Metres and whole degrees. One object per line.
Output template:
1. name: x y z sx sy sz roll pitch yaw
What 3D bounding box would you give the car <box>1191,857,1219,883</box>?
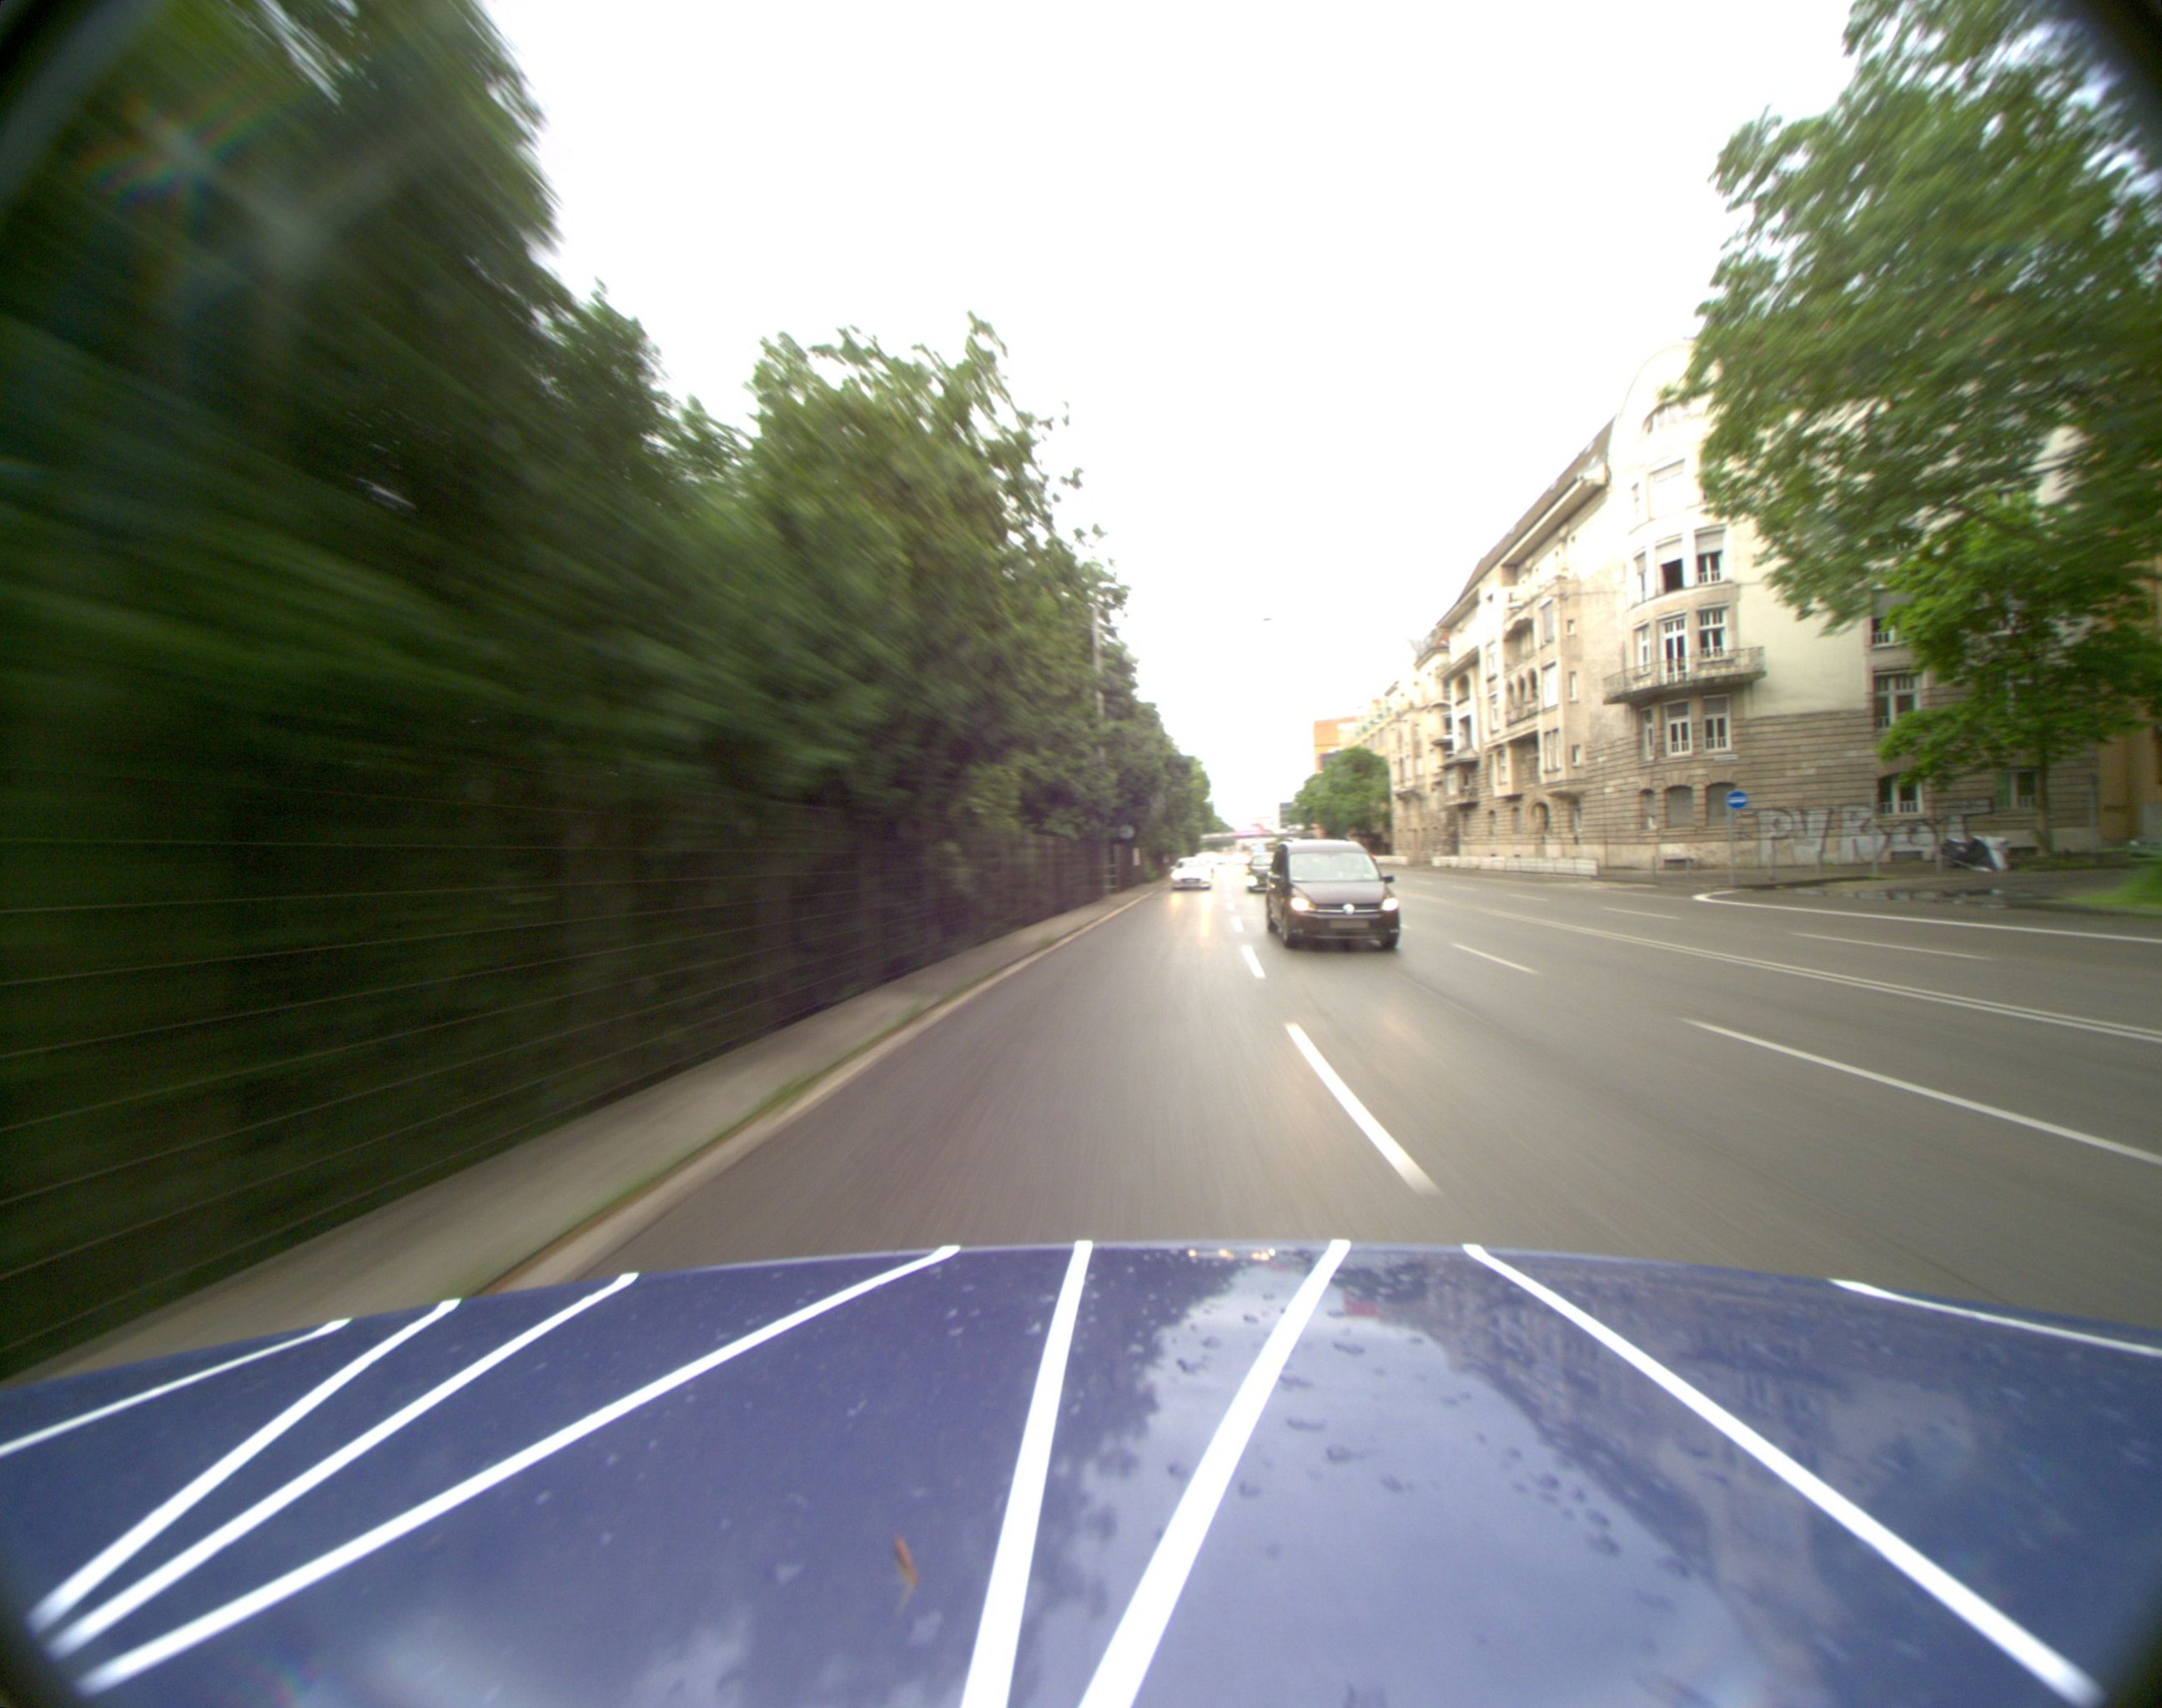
1. car: 9.174 1.138 55.997 1.800 1.586 4.003 -4 0 11

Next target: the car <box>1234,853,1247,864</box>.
1. car: 27.020 0.750 128.711 1.877 1.761 4.002 -4 0 10

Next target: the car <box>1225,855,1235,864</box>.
1. car: 34.123 1.256 174.125 1.877 1.761 4.002 -4 0 10

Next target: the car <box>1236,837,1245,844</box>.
1. car: 38.230 -3.194 181.987 1.823 1.602 4.003 -4 0 13

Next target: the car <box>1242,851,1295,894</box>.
1. car: 7.749 0.713 31.685 1.730 1.604 4.002 -4 0 9

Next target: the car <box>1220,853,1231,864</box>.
1. car: 26.879 0.871 141.314 1.877 1.761 4.002 -4 0 10

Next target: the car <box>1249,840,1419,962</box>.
1. car: 4.208 0.720 13.322 1.841 1.780 4.001 -1 0 4

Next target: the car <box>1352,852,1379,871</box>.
1. car: 21.952 0.534 58.739 1.703 1.331 3.920 -2 0 17

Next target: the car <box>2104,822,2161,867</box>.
1. car: 35.428 -0.396 23.686 3.992 1.353 1.696 -3 0 16

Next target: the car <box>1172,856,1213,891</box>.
1. car: 5.270 0.874 35.976 1.730 1.430 4.002 -4 0 9

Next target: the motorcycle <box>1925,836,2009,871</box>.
1. motorcycle: 29.908 -0.022 25.704 0.504 1.134 2.395 -3 0 13

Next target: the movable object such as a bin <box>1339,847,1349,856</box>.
1. movable object such as a bin: 40.321 -0.378 116.499 1.070 1.427 1.373 -4 0 5
